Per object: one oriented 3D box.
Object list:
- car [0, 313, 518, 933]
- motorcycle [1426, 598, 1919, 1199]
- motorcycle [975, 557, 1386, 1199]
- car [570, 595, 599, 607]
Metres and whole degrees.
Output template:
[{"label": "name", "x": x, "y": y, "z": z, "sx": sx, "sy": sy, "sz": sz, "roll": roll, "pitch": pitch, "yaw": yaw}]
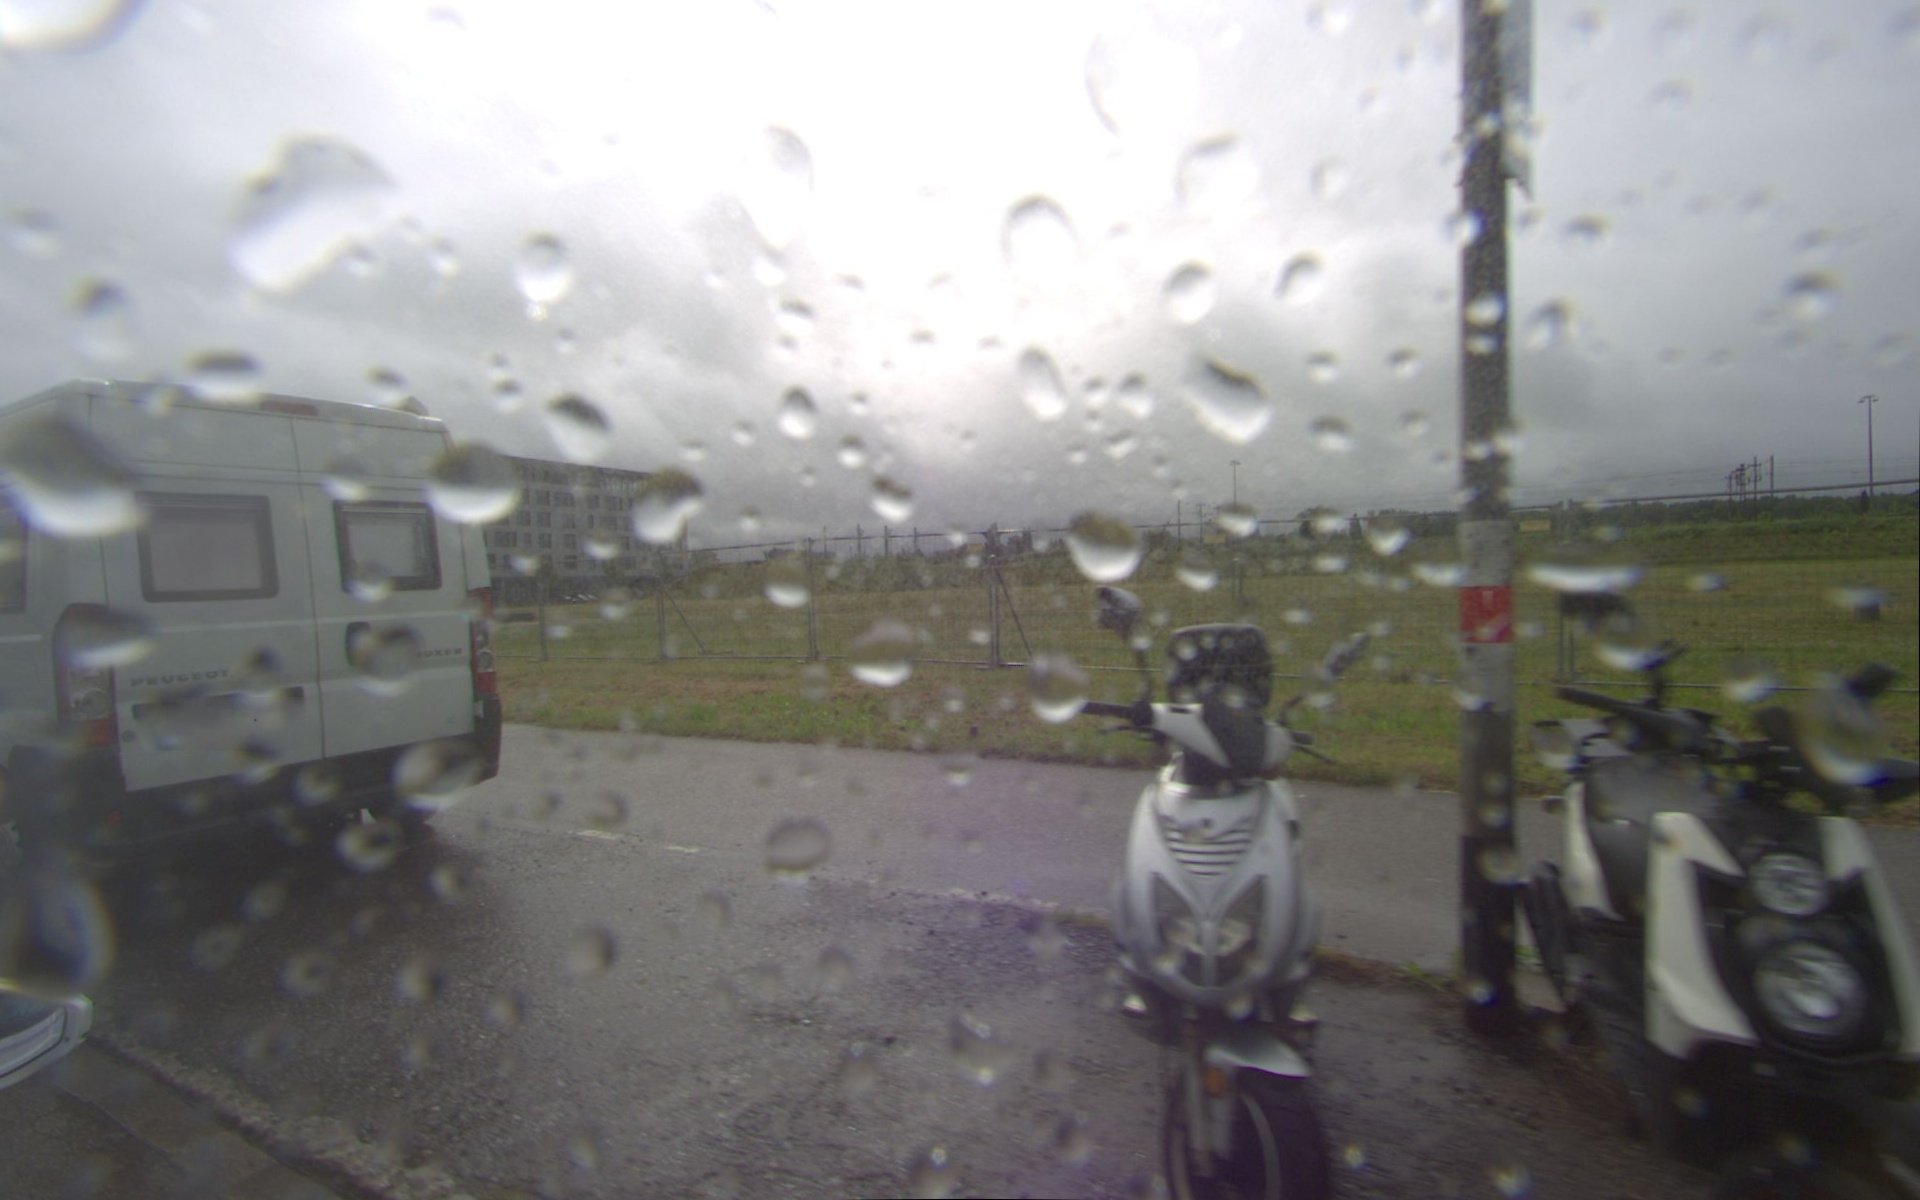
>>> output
[{"label": "car", "x": -5.665, "y": 0.126, "z": 6.490, "sx": 5.863, "sy": 2.507, "sz": 2.086, "roll": -2, "pitch": 3, "yaw": 32}, {"label": "motorcycle", "x": 1.649, "y": 0.673, "z": 2.259, "sx": 0.637, "sy": 1.212, "sz": 1.673, "roll": -3, "pitch": 4, "yaw": 10}, {"label": "motorcycle", "x": 0.624, "y": 0.619, "z": 2.647, "sx": 0.708, "sy": 1.394, "sz": 1.644, "roll": -2, "pitch": 4, "yaw": 16}, {"label": "car", "x": -58.817, "y": 0.112, "z": 156.814, "sx": 4.303, "sy": 1.709, "sz": 1.793, "roll": -1, "pitch": -2, "yaw": 29}]
